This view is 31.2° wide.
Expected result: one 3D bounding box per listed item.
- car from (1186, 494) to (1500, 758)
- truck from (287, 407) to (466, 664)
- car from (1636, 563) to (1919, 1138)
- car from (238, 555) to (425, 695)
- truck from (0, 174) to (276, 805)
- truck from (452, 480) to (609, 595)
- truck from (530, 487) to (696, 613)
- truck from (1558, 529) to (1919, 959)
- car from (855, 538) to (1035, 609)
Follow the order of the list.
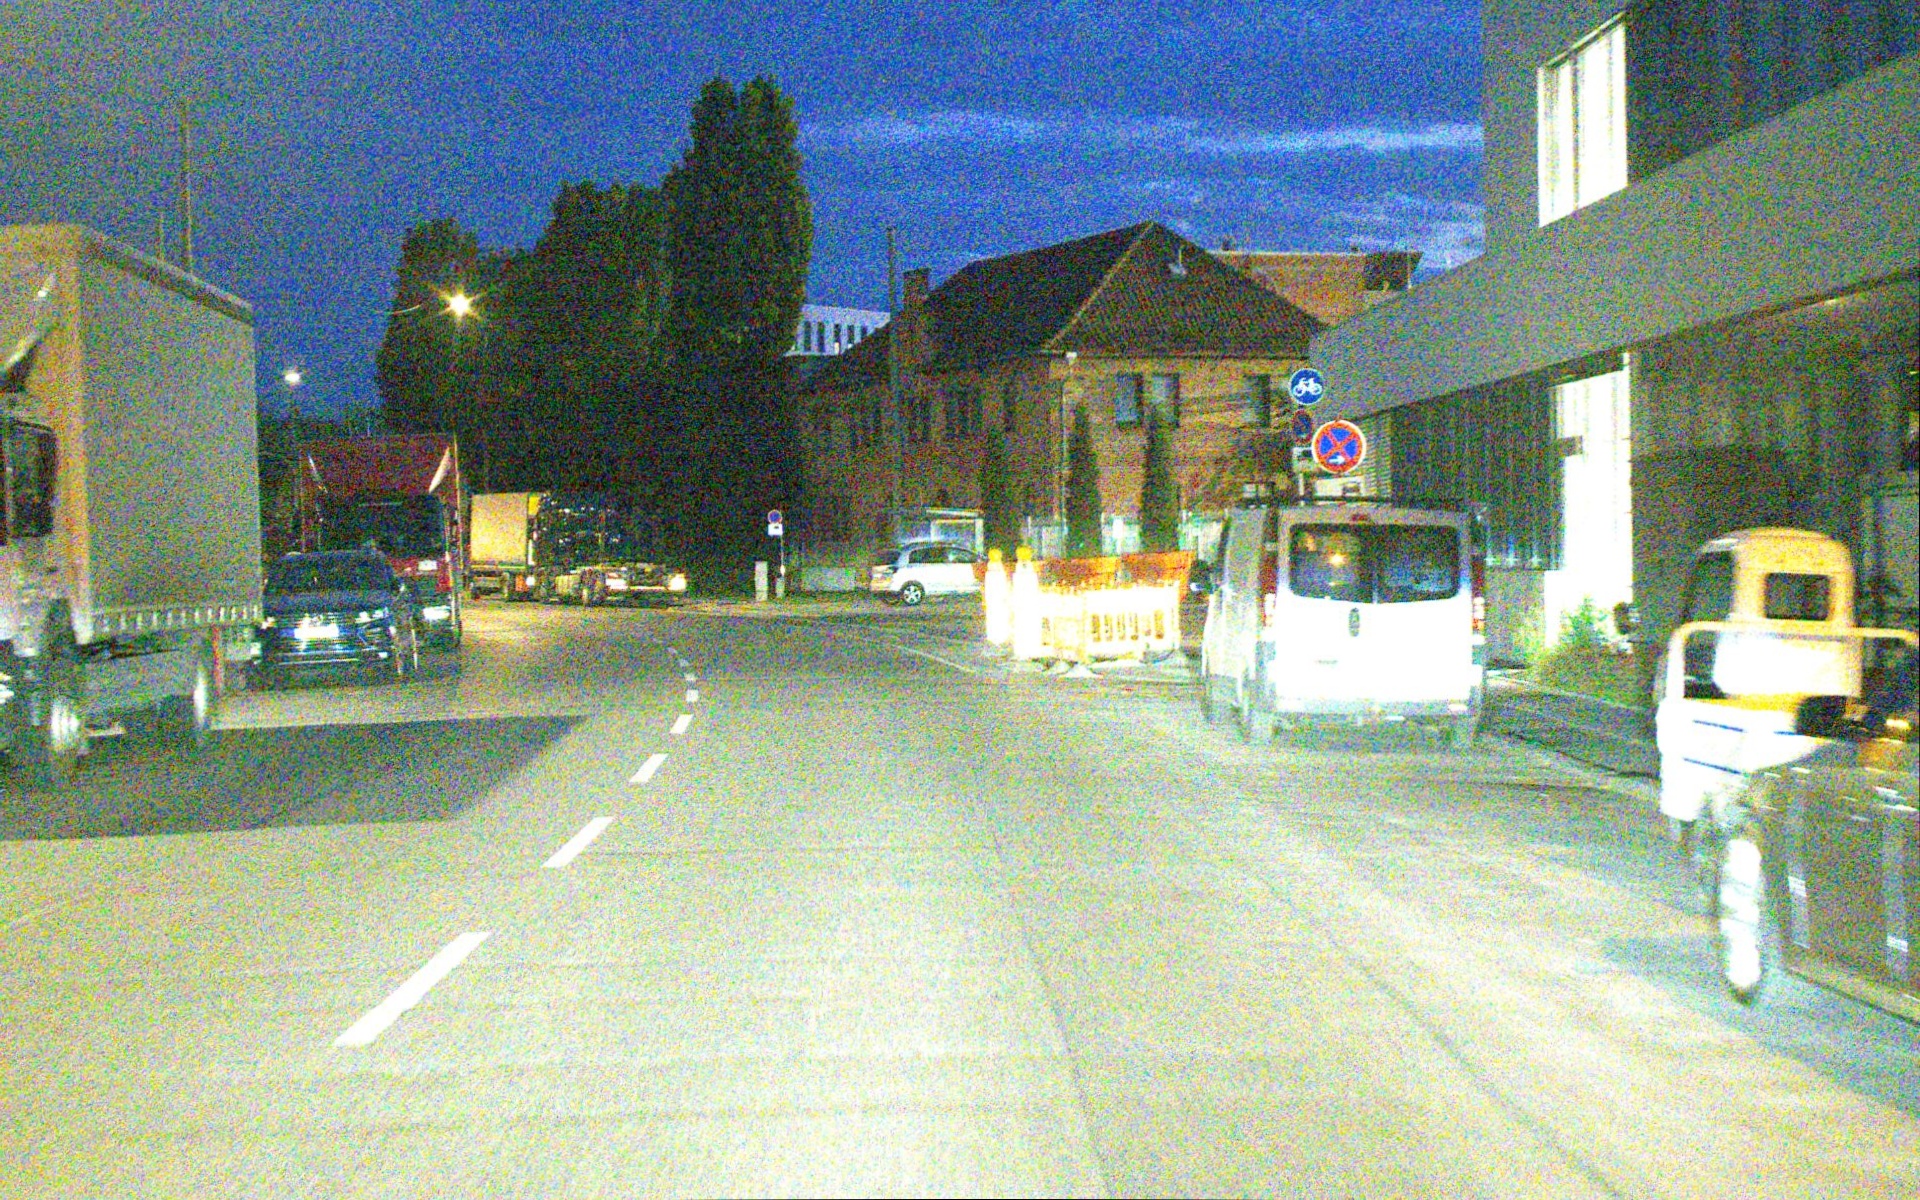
[{"bbox_3d":[3.133,0.175,29.102,1.993,2.007,4.912,-1,1,-1],"label":"car"},{"bbox_3d":[-10.046,-1.091,59.911,2.772,4.106,9.343,-1,1,-8],"label":"truck"},{"bbox_3d":[3.473,0.648,10.014,1.946,1.484,5.011,-1,1,-1],"label":"car"},{"bbox_3d":[-8.199,0.282,45.257,1.943,1.711,5.199,-1,1,-5],"label":"car"},{"bbox_3d":[-7.406,-0.753,26.633,2.746,4.020,9.561,0,1,-3],"label":"truck"},{"bbox_3d":[-14.818,-2.088,117.846,2.754,3.770,10.228,-1,1,-22],"label":"truck"},{"bbox_3d":[-11.008,-1.535,108.214,2.754,3.770,9.139,-1,1,-22],"label":"truck"},{"bbox_3d":[3.704,0.528,15.051,1.370,1.639,3.813,-1,1,-2],"label":"truck"},{"bbox_3d":[-0.402,-0.722,91.474,4.325,1.640,1.893,-4,2,-22],"label":"car"}]
